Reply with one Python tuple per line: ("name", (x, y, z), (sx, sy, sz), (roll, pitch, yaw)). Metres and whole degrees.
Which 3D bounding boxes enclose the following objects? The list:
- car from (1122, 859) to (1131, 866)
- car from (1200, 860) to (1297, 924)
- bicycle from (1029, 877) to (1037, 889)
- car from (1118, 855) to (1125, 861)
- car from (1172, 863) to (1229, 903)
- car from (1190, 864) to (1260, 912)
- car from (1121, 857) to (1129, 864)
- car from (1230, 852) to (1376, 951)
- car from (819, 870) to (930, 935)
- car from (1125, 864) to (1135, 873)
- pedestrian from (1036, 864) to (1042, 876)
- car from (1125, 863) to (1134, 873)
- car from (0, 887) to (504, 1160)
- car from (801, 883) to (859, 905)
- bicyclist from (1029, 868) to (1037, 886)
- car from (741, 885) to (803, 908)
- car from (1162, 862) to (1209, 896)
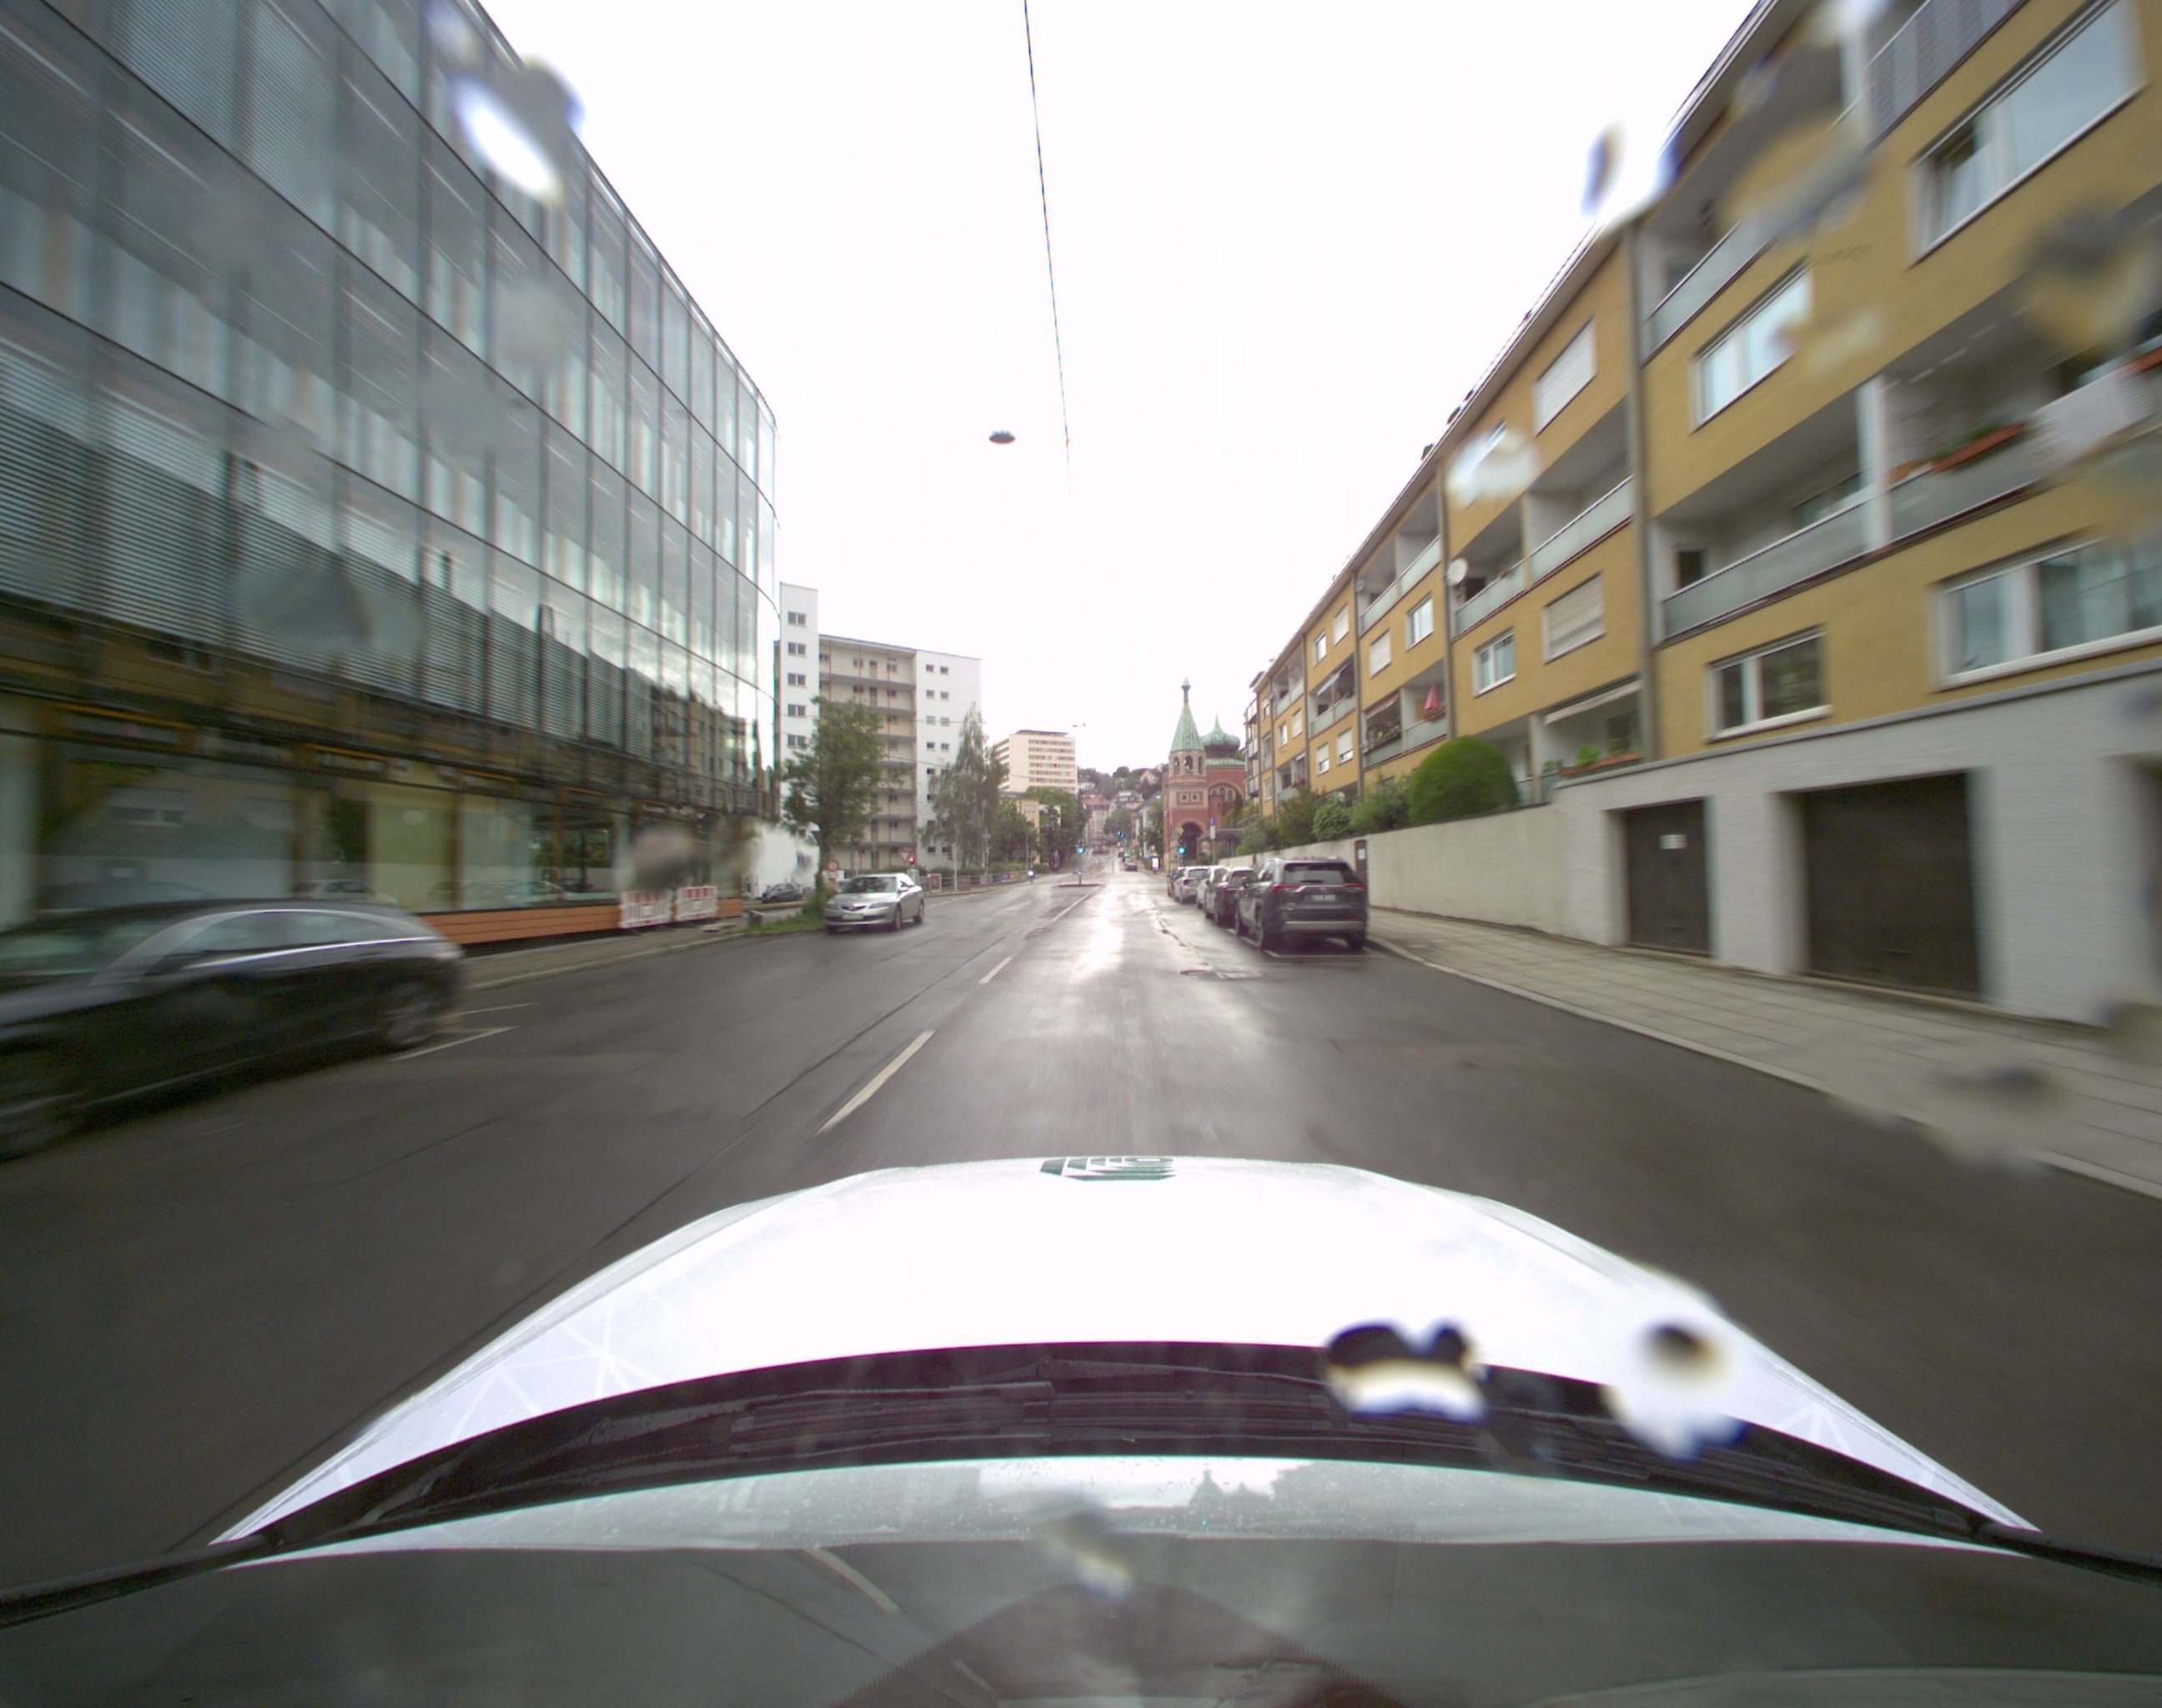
("car", (10.391, 1.964, 186.905), (1.885, 1.510, 4.001), (0, -1, 2))
("car", (4.269, 0.927, 21.361), (1.811, 1.522, 4.077), (0, -1, 2))
("bicycle", (-4.474, 2.736, 76.159), (0.675, 1.108, 1.799), (-2, -2, -1))
("car", (11.606, 1.174, 231.415), (1.901, 1.510, 4.001), (0, -1, 2))
("car", (4.770, 1.142, 33.007), (1.811, 1.522, 4.077), (0, -1, 2))
("car", (4.840, 1.109, 27.901), (1.811, 1.522, 4.077), (0, -1, 2))
("car", (10.857, 1.617, 202.823), (1.901, 1.510, 4.001), (0, -1, 2))
("car", (4.064, 0.823, 15.620), (1.811, 1.652, 4.077), (0, -1, 2))
("car", (-5.280, 1.205, 21.387), (1.703, 1.451, 4.294), (-2, -2, 1))
("car", (9.106, 2.681, 150.282), (1.723, 1.654, 4.005), (-2, -1, 5))
("pedestrian", (-6.789, 2.562, 130.416), (0.885, 1.893, 0.921), (-2, -1, -4))
("car", (9.600, 2.791, 161.682), (1.843, 1.767, 4.003), (-1, -1, 3))
("car", (-6.864, 1.039, 6.052), (1.797, 1.451, 4.656), (-2, -2, 0))
("car", (-19.959, 3.139, 64.735), (4.018, 1.510, 1.780), (-1, -1, -36))
("bicyclist", (-4.488, 2.112, 76.170), (0.675, 1.661, 0.650), (-2, -2, -1))
("car", (-23.477, 3.208, 61.892), (4.018, 1.510, 1.780), (-1, -1, -36))
("car", (4.838, 1.147, 38.169), (1.811, 1.522, 4.077), (0, -1, 2))
